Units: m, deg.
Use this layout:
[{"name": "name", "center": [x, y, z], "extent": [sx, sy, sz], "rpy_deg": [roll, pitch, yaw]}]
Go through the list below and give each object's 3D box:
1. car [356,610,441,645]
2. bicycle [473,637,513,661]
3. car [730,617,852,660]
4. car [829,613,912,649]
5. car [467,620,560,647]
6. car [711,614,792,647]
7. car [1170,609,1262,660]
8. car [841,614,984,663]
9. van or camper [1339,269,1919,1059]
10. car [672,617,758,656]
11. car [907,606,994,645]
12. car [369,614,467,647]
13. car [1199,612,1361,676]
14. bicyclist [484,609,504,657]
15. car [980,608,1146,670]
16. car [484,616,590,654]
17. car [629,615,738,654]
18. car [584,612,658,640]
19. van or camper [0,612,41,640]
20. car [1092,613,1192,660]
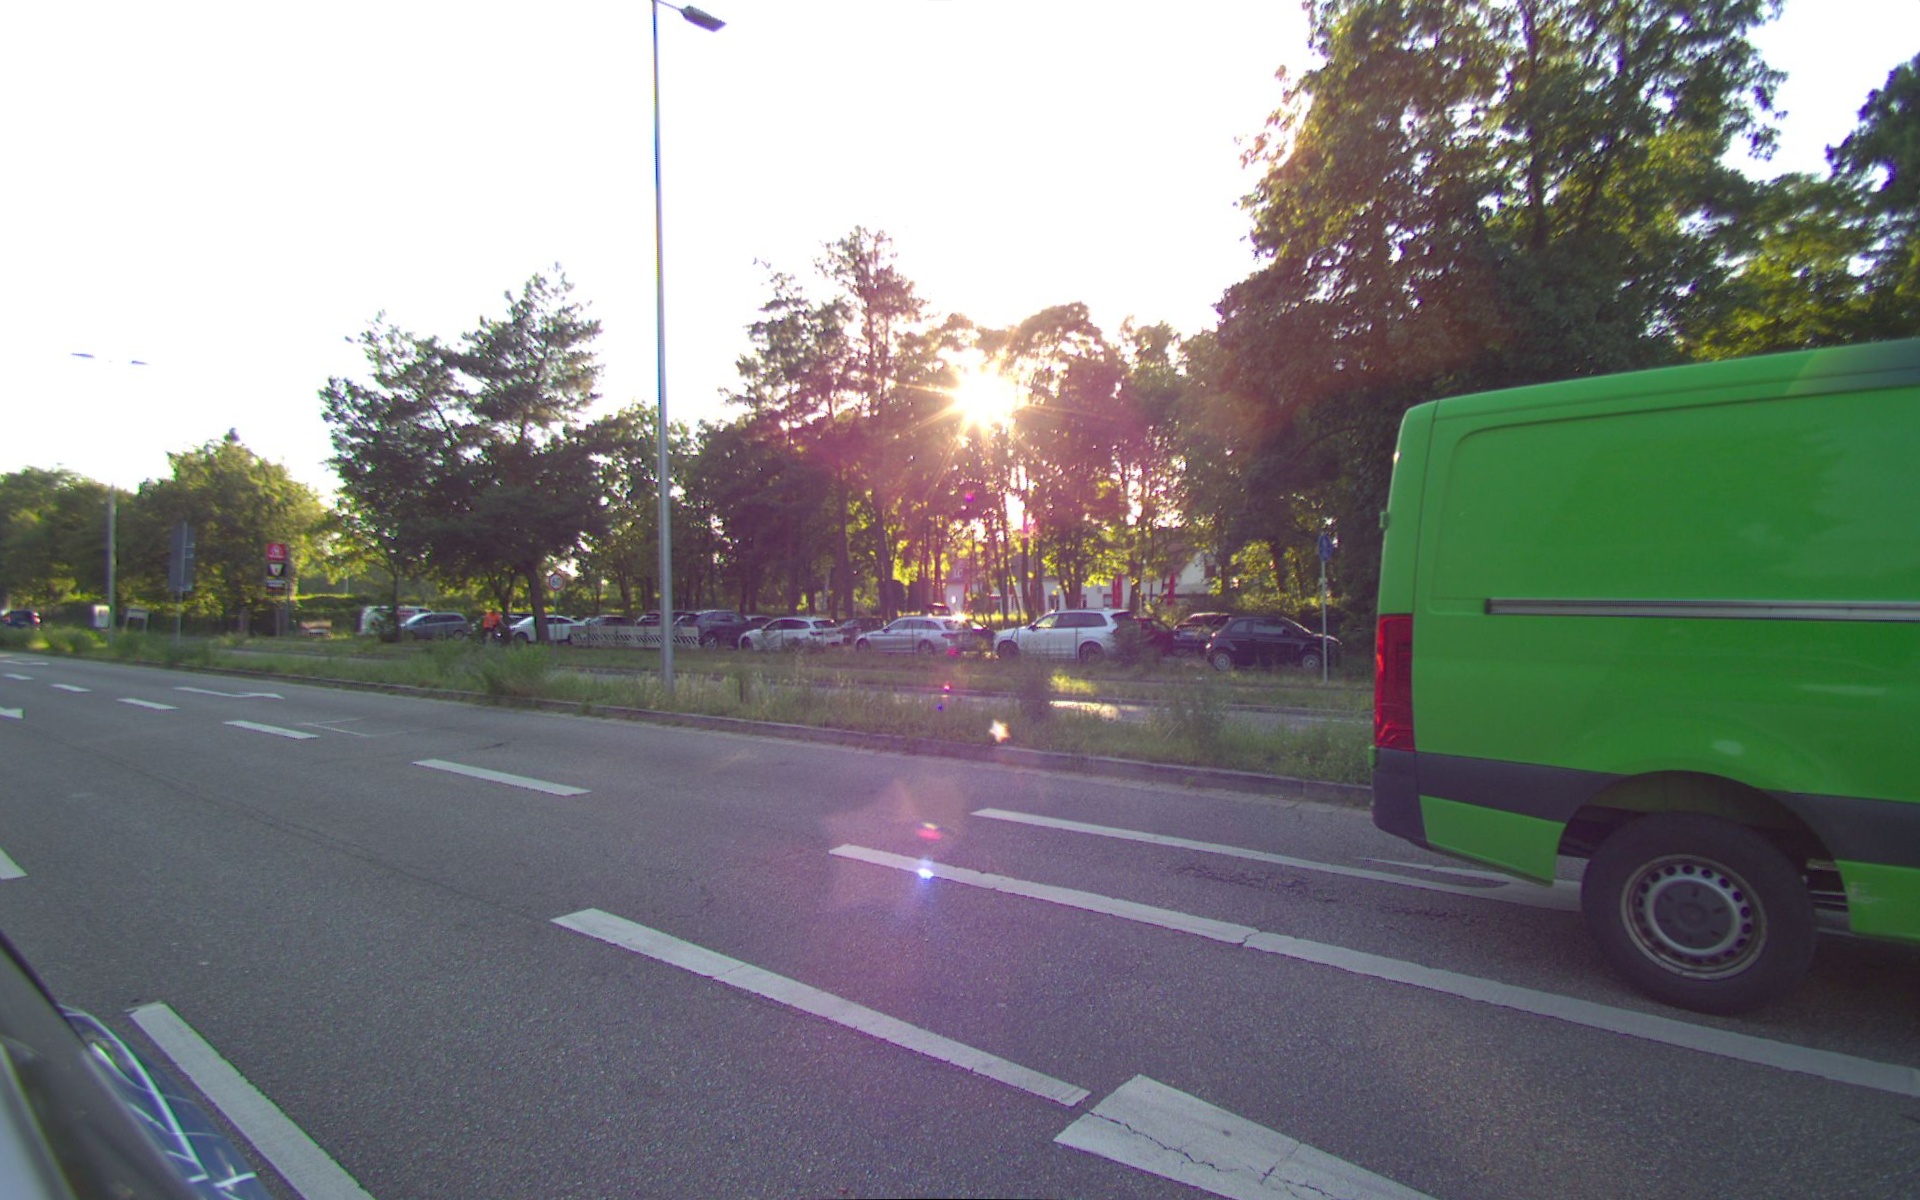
[{"name": "car", "center": [-32.527, 1.611, 58.675], "extent": [1.764, 1.959, 3.949], "rpy_deg": [-1, -2, 38]}, {"name": "bicycle", "center": [-18.495, 1.928, 40.084], "extent": [2.039, 0.940, 0.487], "rpy_deg": [-1, -2, 35]}, {"name": "car", "center": [-6.590, 1.457, 39.304], "extent": [4.701, 1.560, 1.975], "rpy_deg": [-1, -2, 37]}, {"name": "car", "center": [-4.304, 1.498, 49.057], "extent": [1.765, 1.663, 3.947], "rpy_deg": [-1, -2, 39]}, {"name": "car", "center": [-22.606, 1.674, 51.333], "extent": [1.731, 1.322, 3.947], "rpy_deg": [-1, -2, 39]}, {"name": "car", "center": [-10.885, 1.581, 52.959], "extent": [1.765, 1.663, 3.947], "rpy_deg": [-1, -2, 40]}, {"name": "car", "center": [9.015, 1.192, 35.452], "extent": [1.914, 1.663, 3.954], "rpy_deg": [-1, -2, 34]}, {"name": "car", "center": [-1.732, 1.318, 35.601], "extent": [4.913, 1.619, 1.975], "rpy_deg": [-1, -2, 37]}, {"name": "van or camper", "center": [4.495, 0.189, 3.150], "extent": [5.889, 2.439, 1.974], "rpy_deg": [-1, -2, 39]}, {"name": "car", "center": [-9.976, 1.454, 41.380], "extent": [1.657, 1.538, 3.060], "rpy_deg": [-1, -2, 38]}, {"name": "car", "center": [-0.370, 1.142, 45.121], "extent": [1.765, 1.663, 3.947], "rpy_deg": [-1, -2, 39]}, {"name": "car", "center": [-30.260, 1.695, 56.643], "extent": [1.907, 1.811, 4.443], "rpy_deg": [-1, -2, 38]}, {"name": "car", "center": [8.586, 1.158, 27.258], "extent": [3.807, 1.609, 1.838], "rpy_deg": [-1, -2, 36]}, {"name": "bicyclist", "center": [-18.451, 1.300, 40.061], "extent": [0.616, 1.888, 0.454], "rpy_deg": [-1, -2, 35]}, {"name": "car", "center": [3.187, 1.199, 31.814], "extent": [4.913, 1.800, 1.975], "rpy_deg": [-1, -2, 37]}, {"name": "car", "center": [-20.787, 1.693, 49.856], "extent": [1.908, 1.767, 4.441], "rpy_deg": [-1, -2, 39]}, {"name": "car", "center": [-11.926, 1.469, 43.895], "extent": [1.769, 1.629, 4.470], "rpy_deg": [-1, -2, 37]}, {"name": "car", "center": [-20.479, 1.587, 61.250], "extent": [1.765, 1.663, 3.947], "rpy_deg": [-1, -2, 40]}, {"name": "van or camper", "center": [-70.398, 1.940, 75.448], "extent": [4.570, 2.029, 1.975], "rpy_deg": [-1, -2, 37]}, {"name": "car", "center": [6.837, 1.334, 37.855], "extent": [1.918, 1.663, 3.944], "rpy_deg": [-1, -2, 42]}]
